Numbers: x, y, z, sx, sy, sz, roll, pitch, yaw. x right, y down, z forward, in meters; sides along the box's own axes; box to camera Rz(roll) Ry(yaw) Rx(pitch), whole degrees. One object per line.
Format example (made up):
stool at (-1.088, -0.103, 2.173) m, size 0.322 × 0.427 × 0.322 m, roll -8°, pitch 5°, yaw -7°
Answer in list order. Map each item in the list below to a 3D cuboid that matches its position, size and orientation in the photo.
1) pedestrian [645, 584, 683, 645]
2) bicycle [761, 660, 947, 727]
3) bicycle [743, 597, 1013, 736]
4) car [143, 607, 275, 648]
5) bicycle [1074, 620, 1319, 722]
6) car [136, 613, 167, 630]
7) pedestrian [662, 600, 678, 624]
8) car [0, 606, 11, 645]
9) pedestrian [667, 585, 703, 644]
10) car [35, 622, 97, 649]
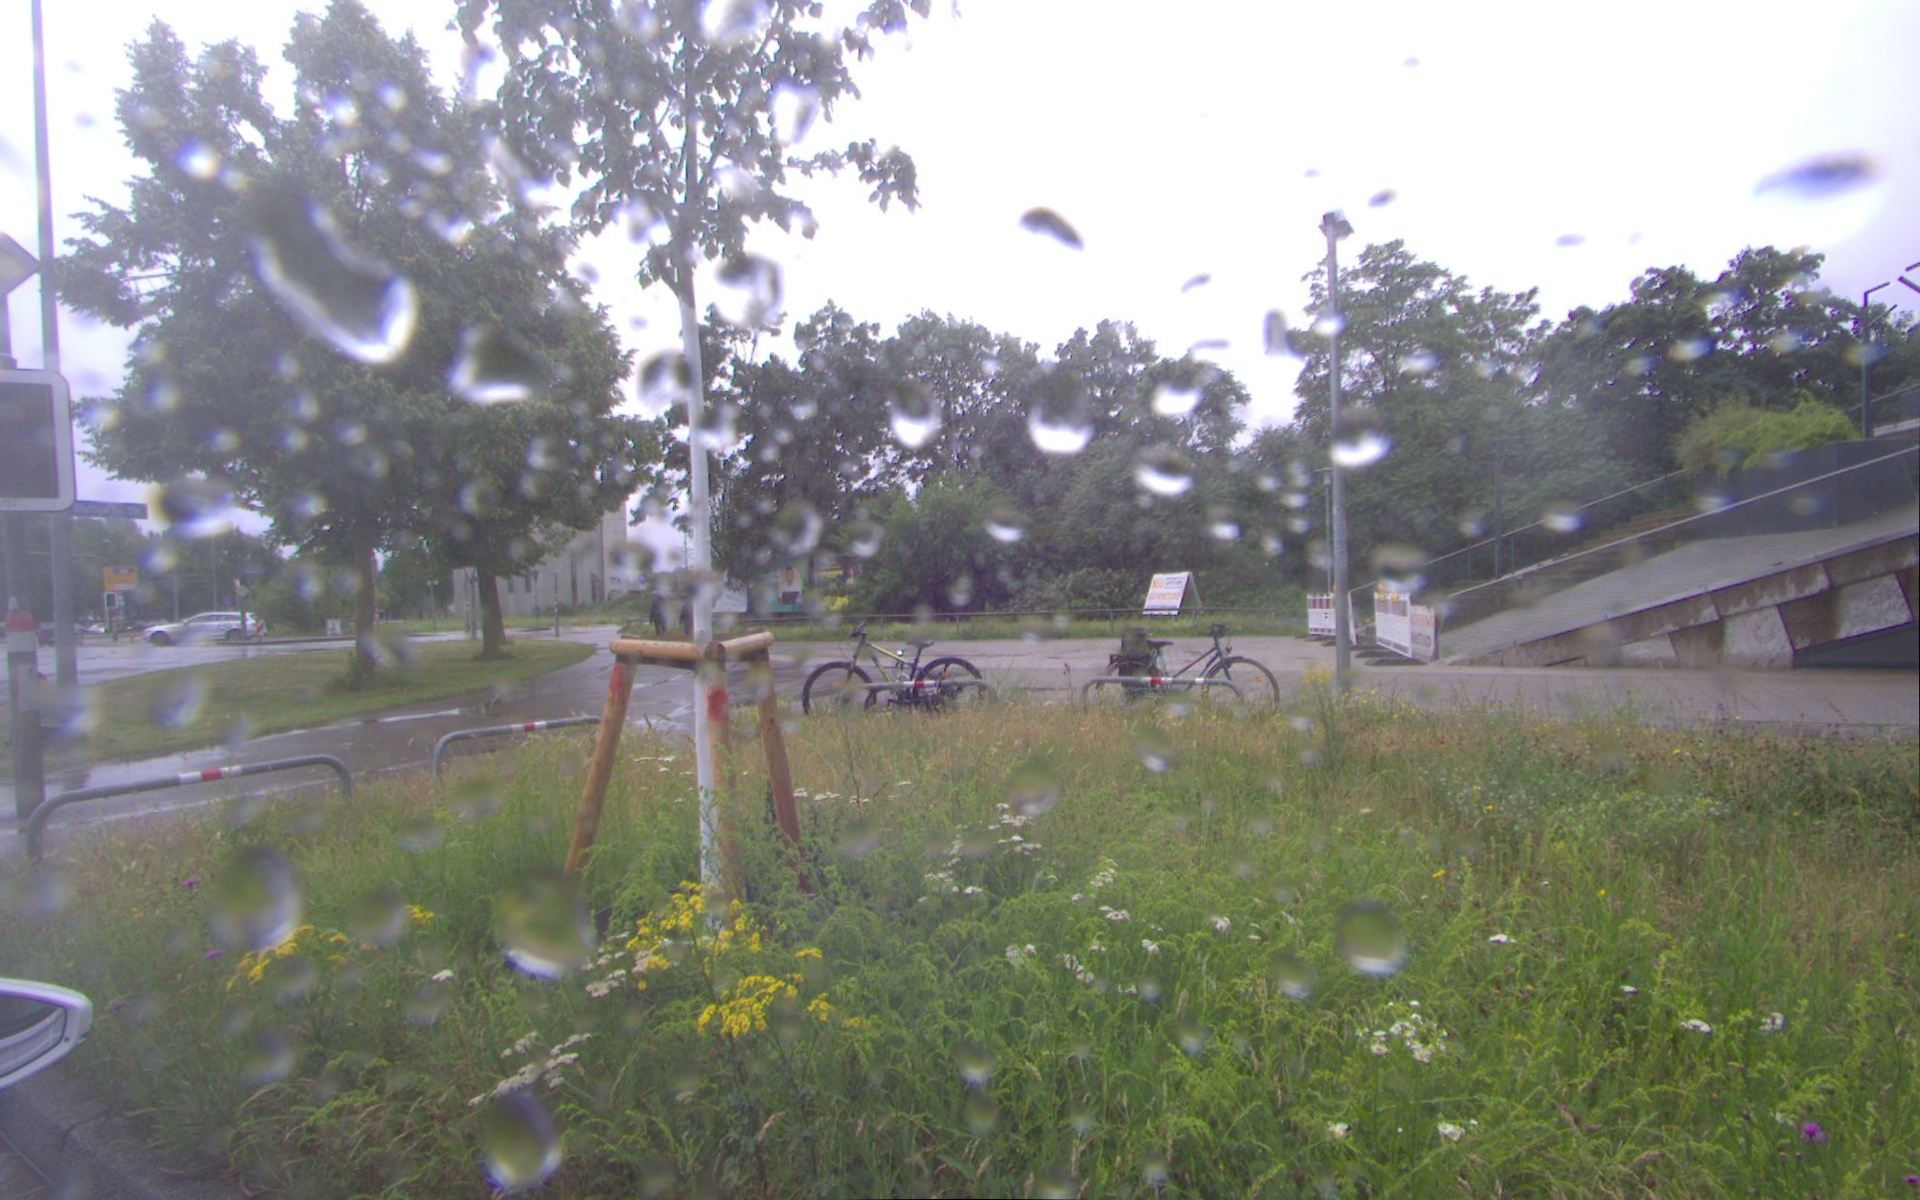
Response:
pedestrian at (-8.836, 0.451, 29.941) m, size 0.906 × 1.807 × 0.808 m, roll 0°, pitch -1°, yaw -3°
bicycle at (-1.022, 0.897, 9.753) m, size 1.771 × 0.566 × 0.320 m, roll -1°, pitch 1°, yaw -17°
bicycle at (-0.764, 0.587, 9.466) m, size 2.480 × 1.205 × 0.552 m, roll -1°, pitch 1°, yaw -17°
car at (-35.111, 1.310, 46.990) m, size 4.770 × 1.833 × 1.780 m, roll 1°, pitch -2°, yaw -31°
bicycle at (2.162, 0.617, 9.290) m, size 2.131 × 0.858 × 0.633 m, roll -1°, pitch 0°, yaw 30°
car at (-95.182, 2.549, 117.887) m, size 1.763 × 2.039 × 3.665 m, roll 0°, pitch -2°, yaw -20°
pedestrian at (-21.953, 0.927, 75.917) m, size 0.705 × 1.794 × 0.948 m, roll -1°, pitch -2°, yaw 42°
car at (-43.096, 1.085, 42.399) m, size 3.923 × 1.668 × 1.789 m, roll 0°, pitch -2°, yaw -7°
pedestrian at (-8.566, 0.470, 31.210) m, size 0.906 × 1.807 × 0.808 m, roll 0°, pitch -1°, yaw -3°
car at (-54.690, 2.135, 61.331) m, size 1.665 × 1.512 × 3.243 m, roll -1°, pitch 0°, yaw -20°
